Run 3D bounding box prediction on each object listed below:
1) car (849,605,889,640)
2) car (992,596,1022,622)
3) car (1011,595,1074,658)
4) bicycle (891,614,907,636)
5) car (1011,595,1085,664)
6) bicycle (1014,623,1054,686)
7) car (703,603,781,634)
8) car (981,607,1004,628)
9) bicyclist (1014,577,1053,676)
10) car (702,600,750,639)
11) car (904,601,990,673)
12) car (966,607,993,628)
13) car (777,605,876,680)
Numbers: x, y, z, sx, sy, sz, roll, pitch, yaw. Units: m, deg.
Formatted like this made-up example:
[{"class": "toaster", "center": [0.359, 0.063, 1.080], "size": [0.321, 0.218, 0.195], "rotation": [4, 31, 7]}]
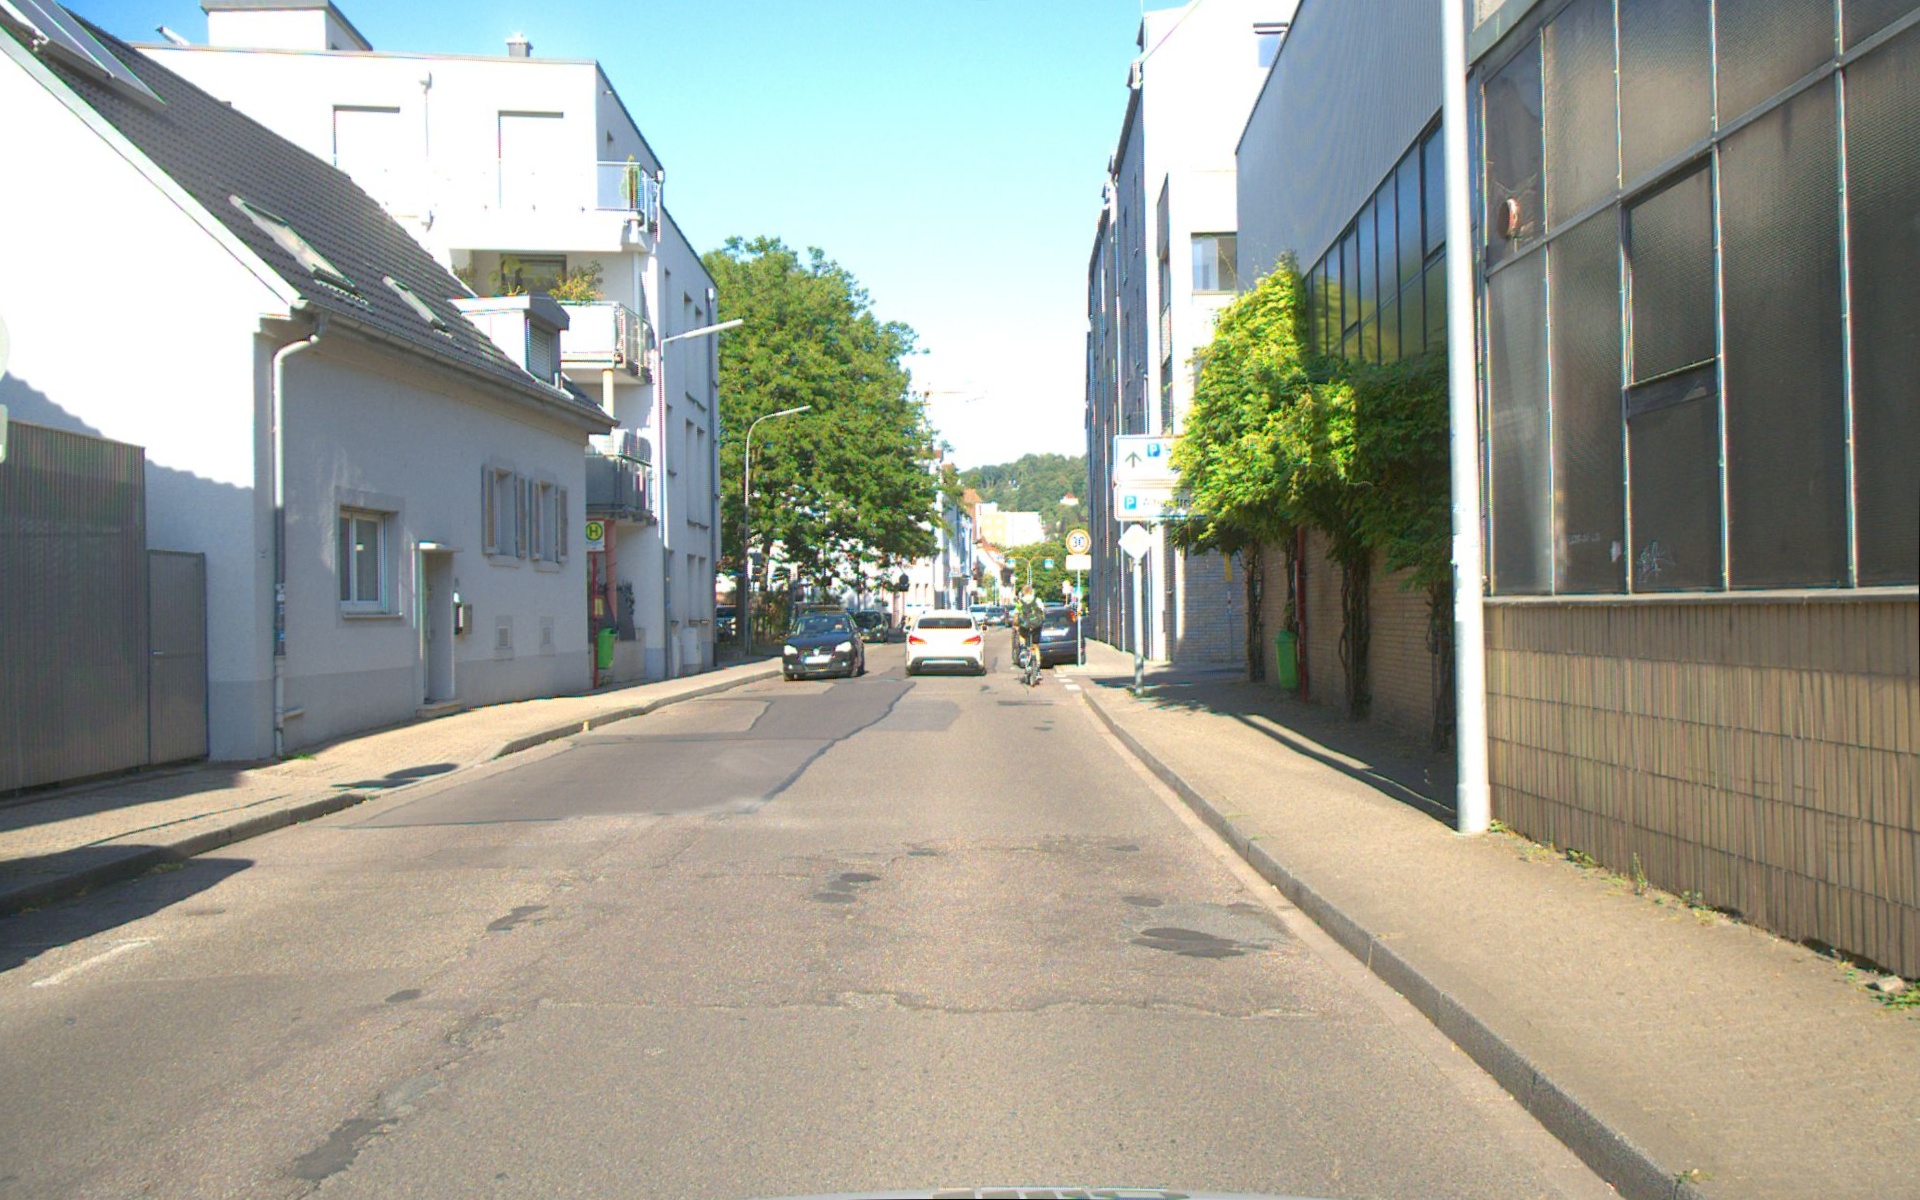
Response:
[{"class": "car", "center": [-4.308, 1.050, 78.750], "size": [1.669, 1.603, 3.913], "rotation": [0, 0, -1]}, {"class": "car", "center": [3.340, 0.652, 118.461], "size": [1.816, 1.823, 4.605], "rotation": [0, 0, -2]}, {"class": "car", "center": [2.351, 0.744, 47.666], "size": [1.630, 1.732, 3.914], "rotation": [0, 0, 0]}, {"class": "bicycle", "center": [-3.468, 1.420, 94.048], "size": [0.818, 1.239, 2.841], "rotation": [0, 0, 0]}, {"class": "car", "center": [2.256, 0.762, 43.137], "size": [1.596, 1.614, 4.068], "rotation": [-3, -1, -1]}, {"class": "bicycle", "center": [1.372, 1.004, 31.100], "size": [0.684, 1.150, 2.403], "rotation": [0, -1, 1]}, {"class": "car", "center": [-11.477, 0.946, 87.226], "size": [3.818, 1.603, 1.711], "rotation": [0, 0, 5]}, {"class": "car", "center": [2.517, 1.323, 128.539], "size": [1.629, 1.603, 3.915], "rotation": [0, 0, 3]}, {"class": "bicyclist", "center": [1.374, 0.492, 30.973], "size": [0.684, 1.821, 1.041], "rotation": [0, -1, 1]}, {"class": "car", "center": [-10.889, 0.904, 77.167], "size": [1.754, 1.719, 3.963], "rotation": [2, 0, -2]}, {"class": "car", "center": [-0.311, 0.819, 37.115], "size": [1.805, 1.517, 4.143], "rotation": [0, -1, -1]}, {"class": "car", "center": [1.582, 1.414, 134.438], "size": [1.904, 1.614, 4.623], "rotation": [-3, -1, 3]}, {"class": "car", "center": [-2.945, 0.938, 37.231], "size": [1.804, 1.517, 4.144], "rotation": [-2, -1, 0]}]
